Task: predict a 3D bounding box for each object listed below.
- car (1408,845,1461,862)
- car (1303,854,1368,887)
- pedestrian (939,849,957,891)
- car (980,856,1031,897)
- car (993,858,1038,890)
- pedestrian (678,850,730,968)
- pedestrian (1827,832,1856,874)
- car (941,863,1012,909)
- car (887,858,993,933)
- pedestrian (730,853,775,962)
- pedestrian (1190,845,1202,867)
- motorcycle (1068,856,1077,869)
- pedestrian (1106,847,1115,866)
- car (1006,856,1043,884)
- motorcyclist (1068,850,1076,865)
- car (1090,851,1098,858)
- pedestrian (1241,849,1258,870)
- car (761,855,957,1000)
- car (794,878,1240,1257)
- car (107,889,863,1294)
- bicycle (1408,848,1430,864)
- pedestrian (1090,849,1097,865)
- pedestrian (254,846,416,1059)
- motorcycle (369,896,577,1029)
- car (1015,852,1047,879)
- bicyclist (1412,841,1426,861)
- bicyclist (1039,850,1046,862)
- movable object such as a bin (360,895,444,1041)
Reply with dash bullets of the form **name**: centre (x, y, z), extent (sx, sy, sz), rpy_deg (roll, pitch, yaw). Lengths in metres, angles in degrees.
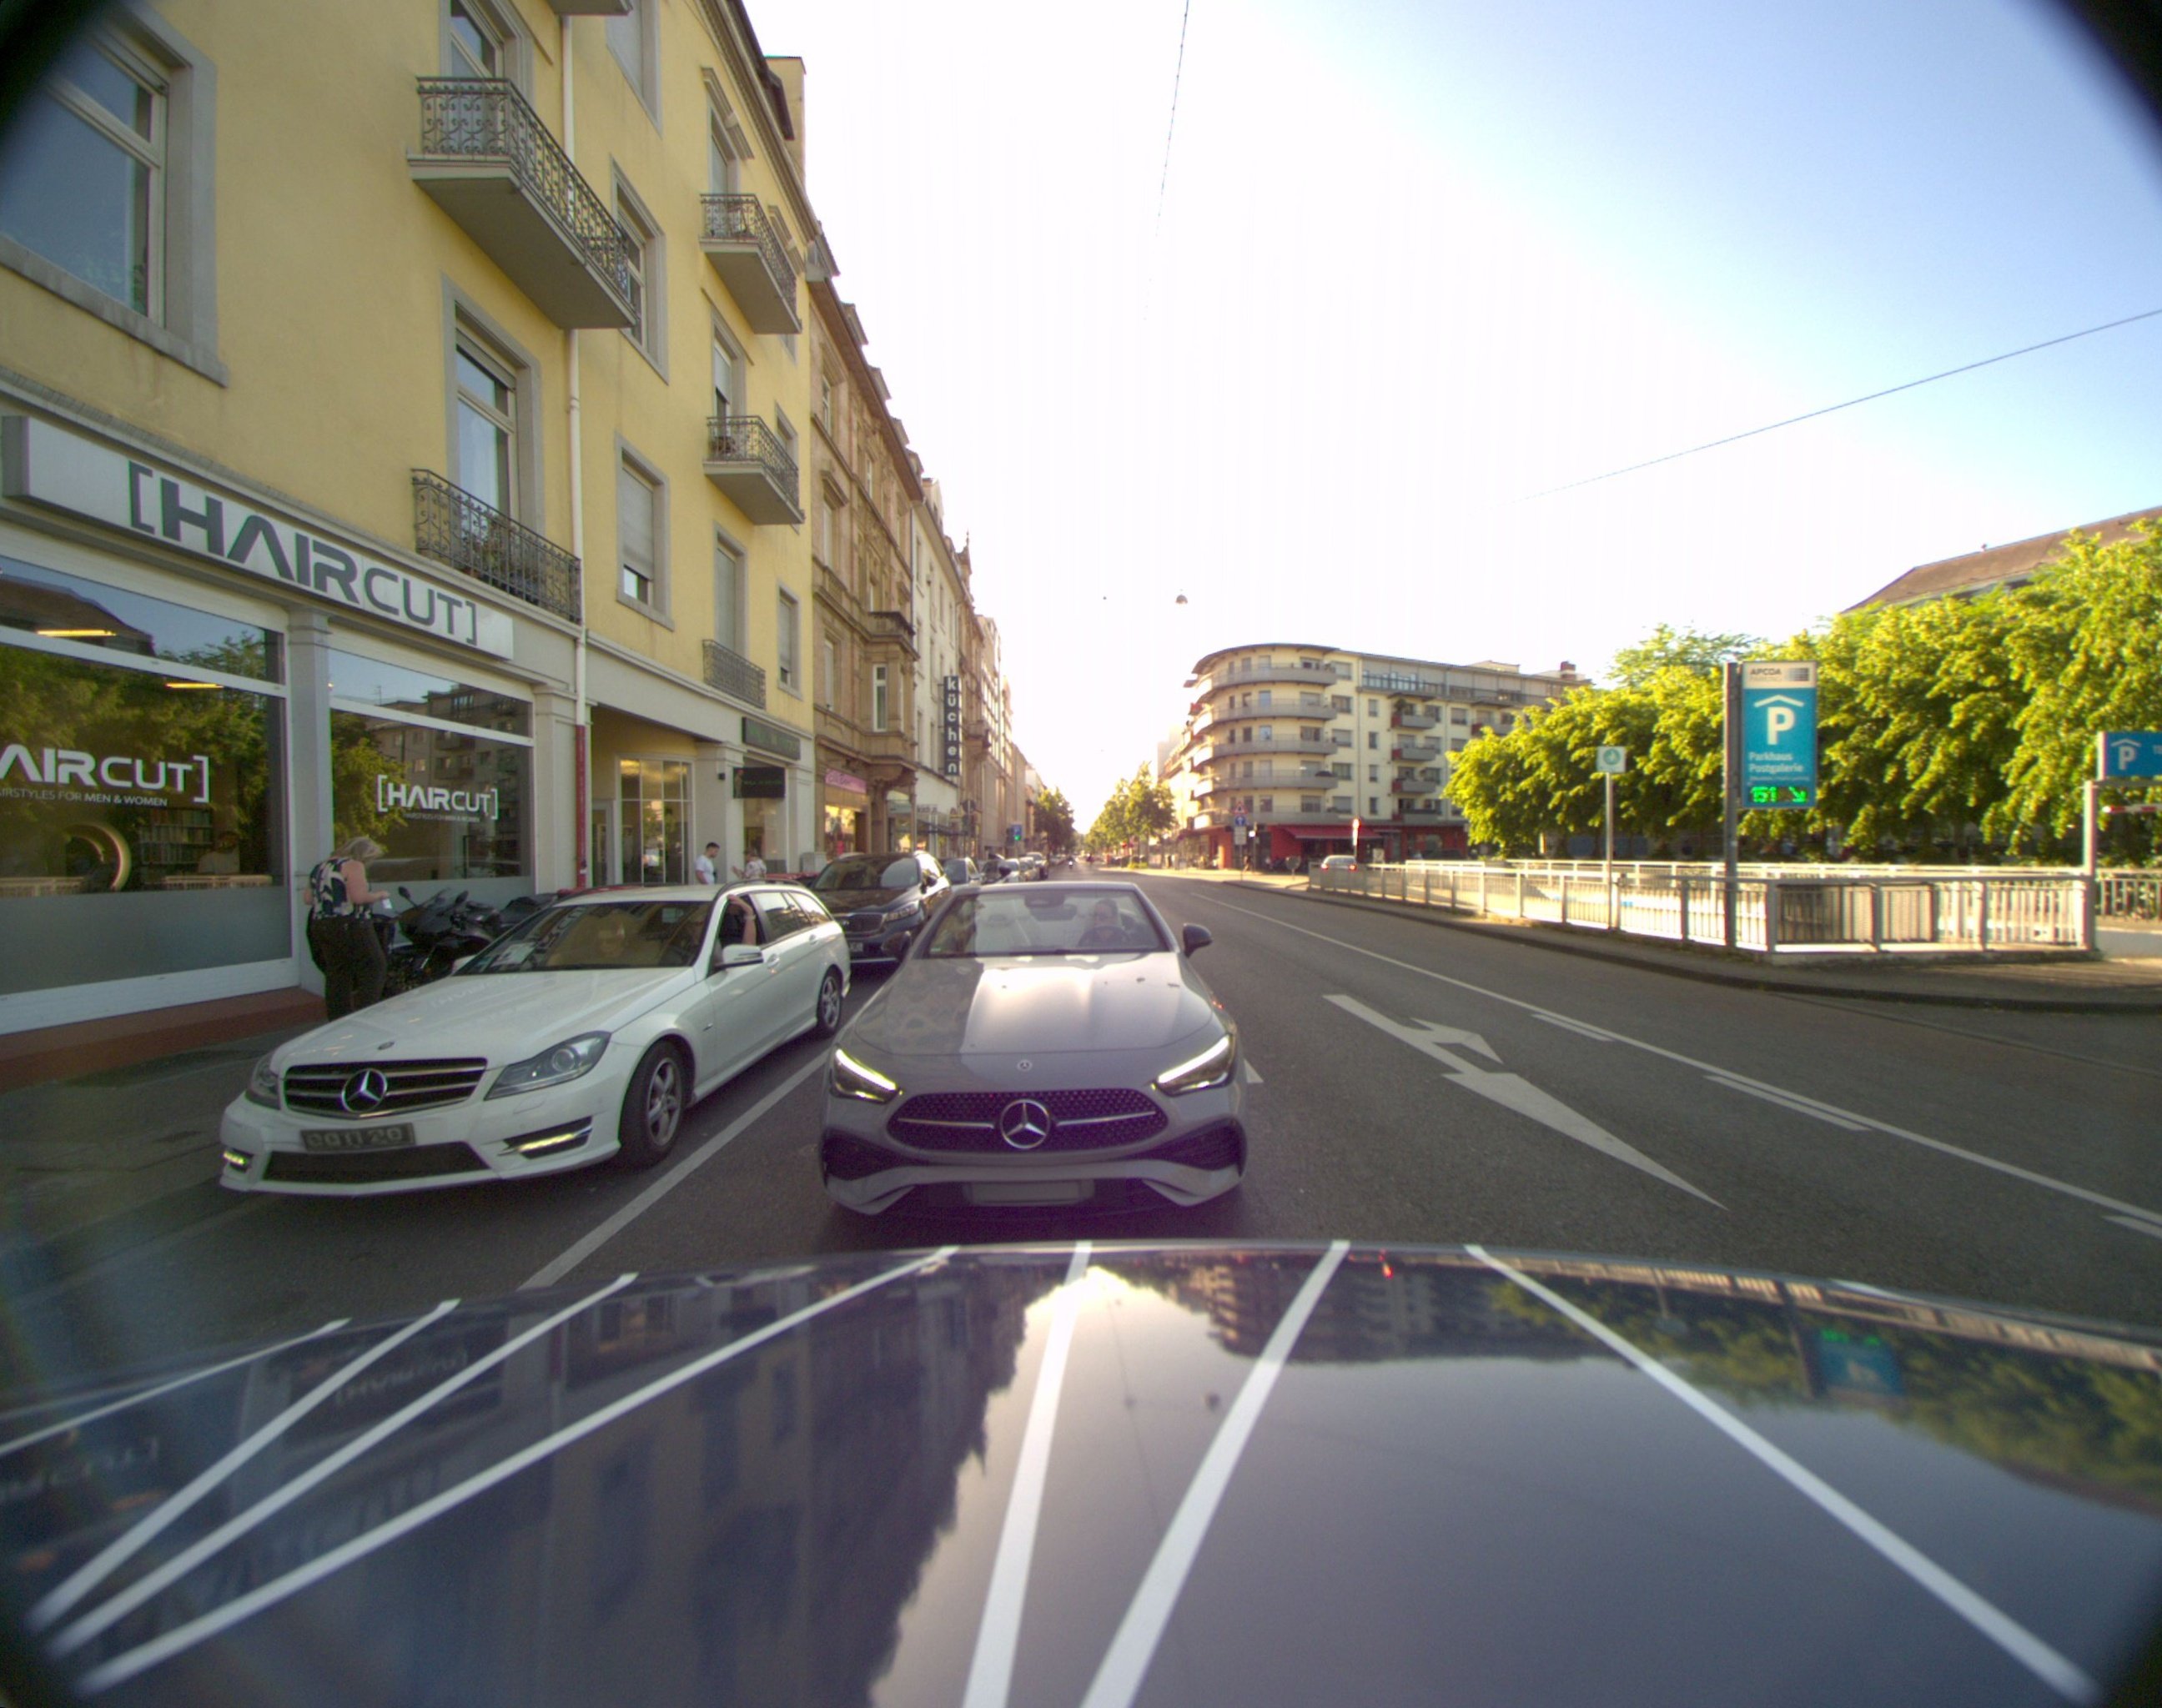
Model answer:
- **car**: centre (29.042, -0.054, 62.436), extent (4.004, 1.294, 1.753), rpy_deg (-2, 1, -23)
- **car**: centre (12.013, 0.738, 36.117), extent (1.823, 1.346, 4.265), rpy_deg (1, 1, 3)
- **pedestrian**: centre (-5.926, 0.690, 33.846), extent (0.574, 1.840, 0.665), rpy_deg (-2, 1, 1)
- **car**: centre (-2.983, 0.868, 30.732), extent (1.660, 1.423, 4.085), rpy_deg (-2, 1, -1)
- **car**: centre (-3.119, 0.927, 36.827), extent (1.802, 1.332, 3.838), rpy_deg (-2, 1, -1)
- **pedestrian**: centre (-6.465, 0.921, 13.051), extent (0.373, 1.971, 0.695), rpy_deg (0, 1, 23)
- **pedestrian**: centre (31.566, -0.035, 31.545), extent (0.647, 1.711, 0.607), rpy_deg (-3, 1, -19)
- **car**: centre (-3.416, 1.022, 25.496), extent (1.802, 1.259, 4.085), rpy_deg (-2, 1, -1)
- **car**: centre (-3.299, 0.909, 18.558), extent (1.802, 1.518, 4.085), rpy_deg (-2, 1, -1)
- **pedestrian**: centre (-5.763, 0.912, 13.318), extent (0.576, 1.840, 0.663), rpy_deg (-3, 1, -30)
- **pedestrian**: centre (10.304, 0.178, 68.140), extent (0.860, 2.002, 0.889), rpy_deg (-2, 1, 0)
- **motorcycle**: centre (-0.832, 0.779, 73.147), extent (0.720, 1.177, 1.906), rpy_deg (-2, 1, 1)
- **pedestrian**: centre (3.189, 0.299, 81.320), extent (0.860, 2.002, 0.889), rpy_deg (-2, 1, 1)
- **car**: centre (-3.016, 0.836, 41.154), extent (1.725, 1.332, 3.668), rpy_deg (-2, 1, -1)
- **motorcyclist**: centre (-0.850, 0.346, 73.118), extent (0.722, 1.438, 0.705), rpy_deg (-2, 1, 1)
- **car**: centre (2.871, 0.168, 165.637), extent (1.615, 1.534, 3.931), rpy_deg (-1, 0, 1)
- **pedestrian**: centre (13.049, 0.427, 58.842), extent (0.863, 1.586, 0.887), rpy_deg (-3, 1, -38)
- **car**: centre (-3.029, 0.894, 11.324), extent (1.803, 1.629, 4.243), rpy_deg (-2, 1, -3)
- **car**: centre (-0.239, 0.955, 5.158), extent (1.802, 1.351, 3.999), rpy_deg (-2, 1, 1)
- **car**: centre (-3.055, 1.074, 5.287), extent (1.704, 1.351, 4.378), rpy_deg (-2, 1, 1)
- **bicycle**: centre (26.043, 0.159, 58.544), extent (1.595, 1.163, 0.526), rpy_deg (-3, 1, -22)
- **pedestrian**: centre (1.514, 0.359, 94.837), extent (0.792, 2.002, 0.889), rpy_deg (-2, 1, 1)
- **pedestrian**: centre (-6.062, 0.766, 6.208), extent (0.719, 1.644, 0.606), rpy_deg (1, 1, 1)
- **motorcycle**: centre (-6.205, 1.045, 7.917), extent (0.567, 1.072, 1.954), rpy_deg (2, 1, 1)
- **car**: centre (-3.089, 0.698, 47.722), extent (1.725, 1.506, 4.004), rpy_deg (-2, 1, -1)
- **bicyclist**: centre (26.005, -0.234, 58.520), extent (0.799, 1.539, 0.524), rpy_deg (-3, 1, -22)
- **bicyclist**: centre (-4.994, 0.263, 97.998), extent (0.885, 1.625, 0.768), rpy_deg (-1, 1, 0)
- **movable object such as a bin**: centre (-5.999, 0.991, 6.722), extent (0.391, 1.231, 0.394), rpy_deg (1, 1, 1)
